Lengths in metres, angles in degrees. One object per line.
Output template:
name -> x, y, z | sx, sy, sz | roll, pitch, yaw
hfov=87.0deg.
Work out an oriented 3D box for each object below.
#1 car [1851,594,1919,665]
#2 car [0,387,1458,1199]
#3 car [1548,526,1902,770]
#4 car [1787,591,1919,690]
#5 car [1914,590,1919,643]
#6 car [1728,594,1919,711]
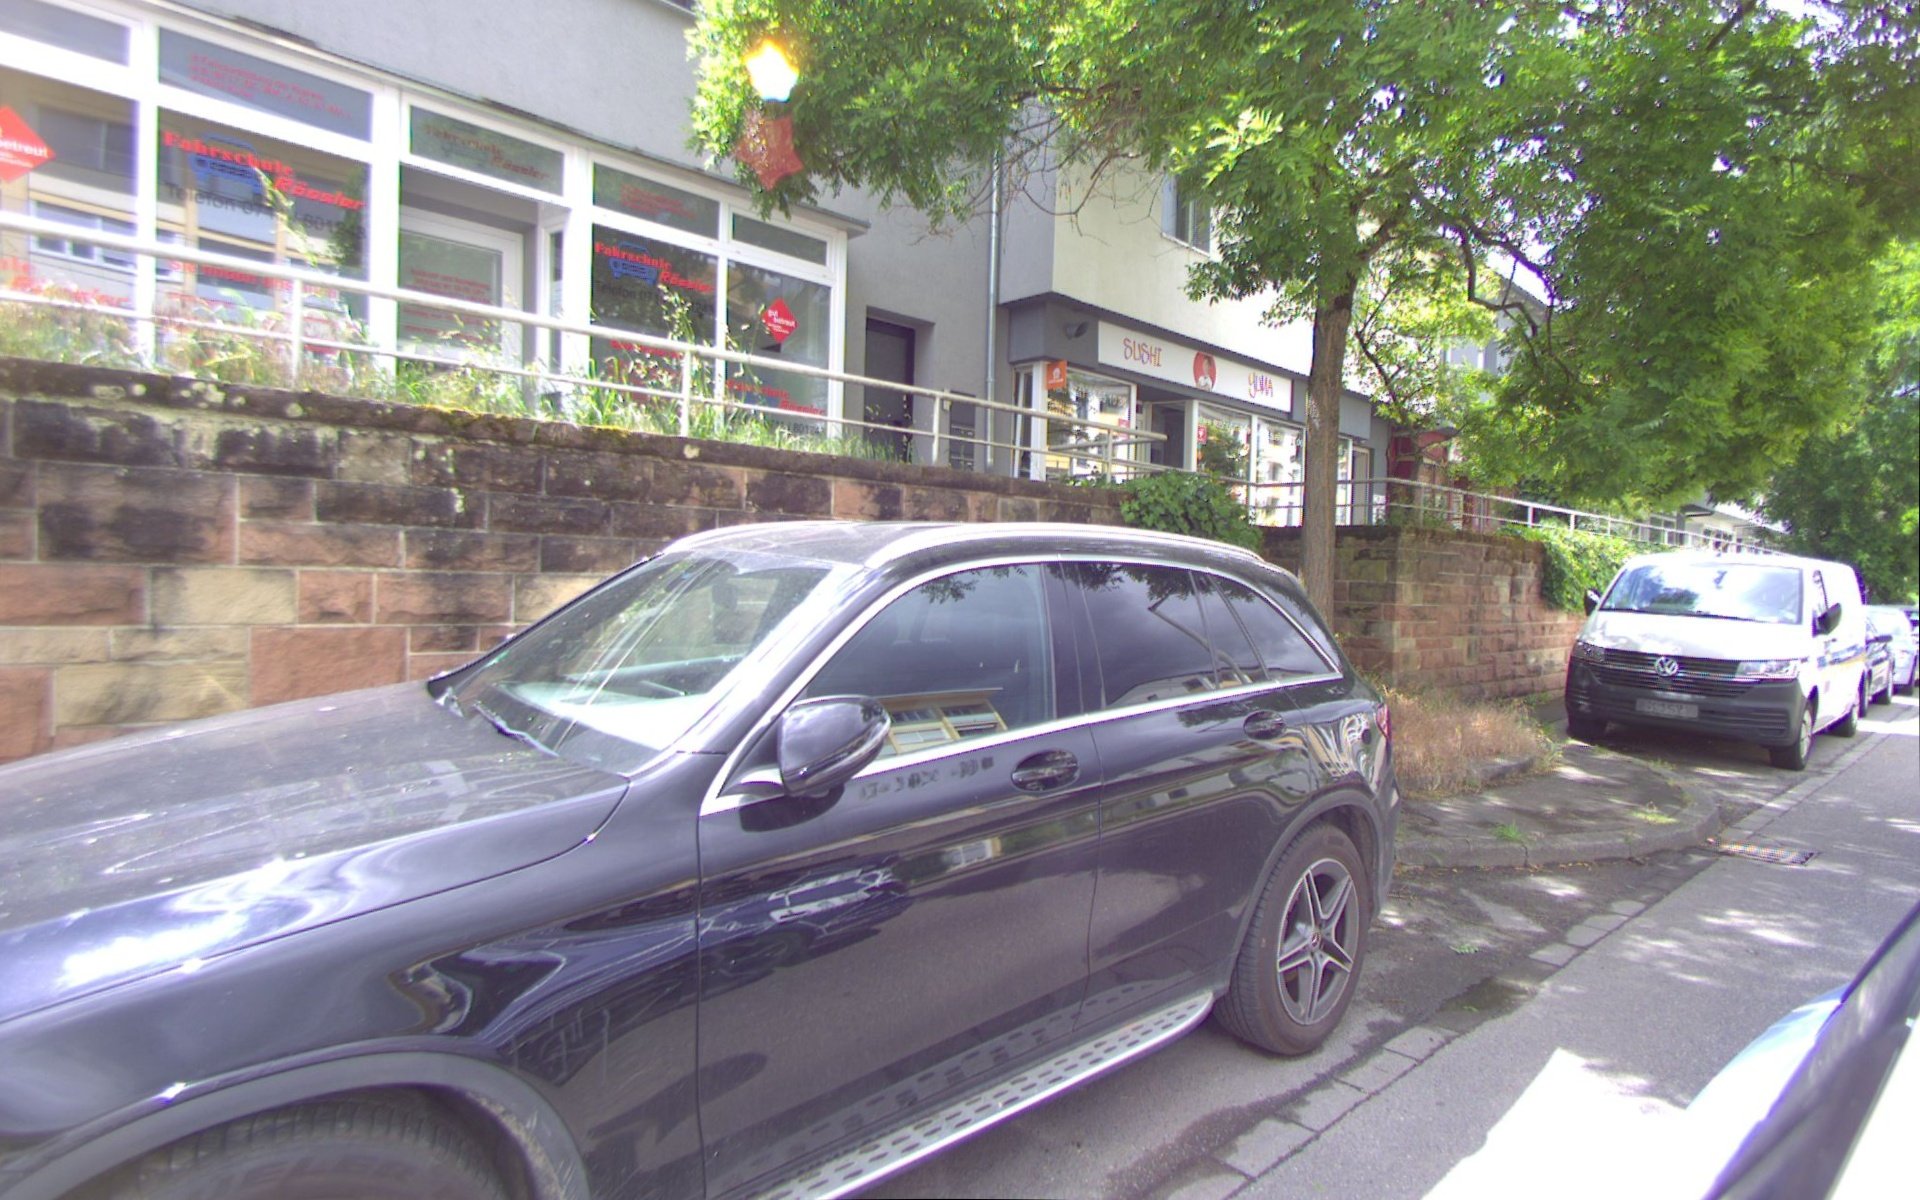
car -> 21.341, 0.630, 22.498 | 4.075, 1.446, 1.783 | 0, 2, -41
car -> -0.449, 0.523, 2.898 | 4.371, 1.637, 1.793 | 0, 4, -42
car -> 8.190, 0.365, 10.635 | 4.925, 1.994, 1.977 | 0, 1, -41
car -> 16.185, 0.636, 17.954 | 4.076, 1.445, 1.783 | 0, 4, -44
car -> 32.390, 0.546, 32.855 | 4.078, 1.674, 1.816 | 0, 2, -44
car -> 12.511, 0.659, 14.586 | 3.669, 1.446, 1.577 | 0, 1, -41
